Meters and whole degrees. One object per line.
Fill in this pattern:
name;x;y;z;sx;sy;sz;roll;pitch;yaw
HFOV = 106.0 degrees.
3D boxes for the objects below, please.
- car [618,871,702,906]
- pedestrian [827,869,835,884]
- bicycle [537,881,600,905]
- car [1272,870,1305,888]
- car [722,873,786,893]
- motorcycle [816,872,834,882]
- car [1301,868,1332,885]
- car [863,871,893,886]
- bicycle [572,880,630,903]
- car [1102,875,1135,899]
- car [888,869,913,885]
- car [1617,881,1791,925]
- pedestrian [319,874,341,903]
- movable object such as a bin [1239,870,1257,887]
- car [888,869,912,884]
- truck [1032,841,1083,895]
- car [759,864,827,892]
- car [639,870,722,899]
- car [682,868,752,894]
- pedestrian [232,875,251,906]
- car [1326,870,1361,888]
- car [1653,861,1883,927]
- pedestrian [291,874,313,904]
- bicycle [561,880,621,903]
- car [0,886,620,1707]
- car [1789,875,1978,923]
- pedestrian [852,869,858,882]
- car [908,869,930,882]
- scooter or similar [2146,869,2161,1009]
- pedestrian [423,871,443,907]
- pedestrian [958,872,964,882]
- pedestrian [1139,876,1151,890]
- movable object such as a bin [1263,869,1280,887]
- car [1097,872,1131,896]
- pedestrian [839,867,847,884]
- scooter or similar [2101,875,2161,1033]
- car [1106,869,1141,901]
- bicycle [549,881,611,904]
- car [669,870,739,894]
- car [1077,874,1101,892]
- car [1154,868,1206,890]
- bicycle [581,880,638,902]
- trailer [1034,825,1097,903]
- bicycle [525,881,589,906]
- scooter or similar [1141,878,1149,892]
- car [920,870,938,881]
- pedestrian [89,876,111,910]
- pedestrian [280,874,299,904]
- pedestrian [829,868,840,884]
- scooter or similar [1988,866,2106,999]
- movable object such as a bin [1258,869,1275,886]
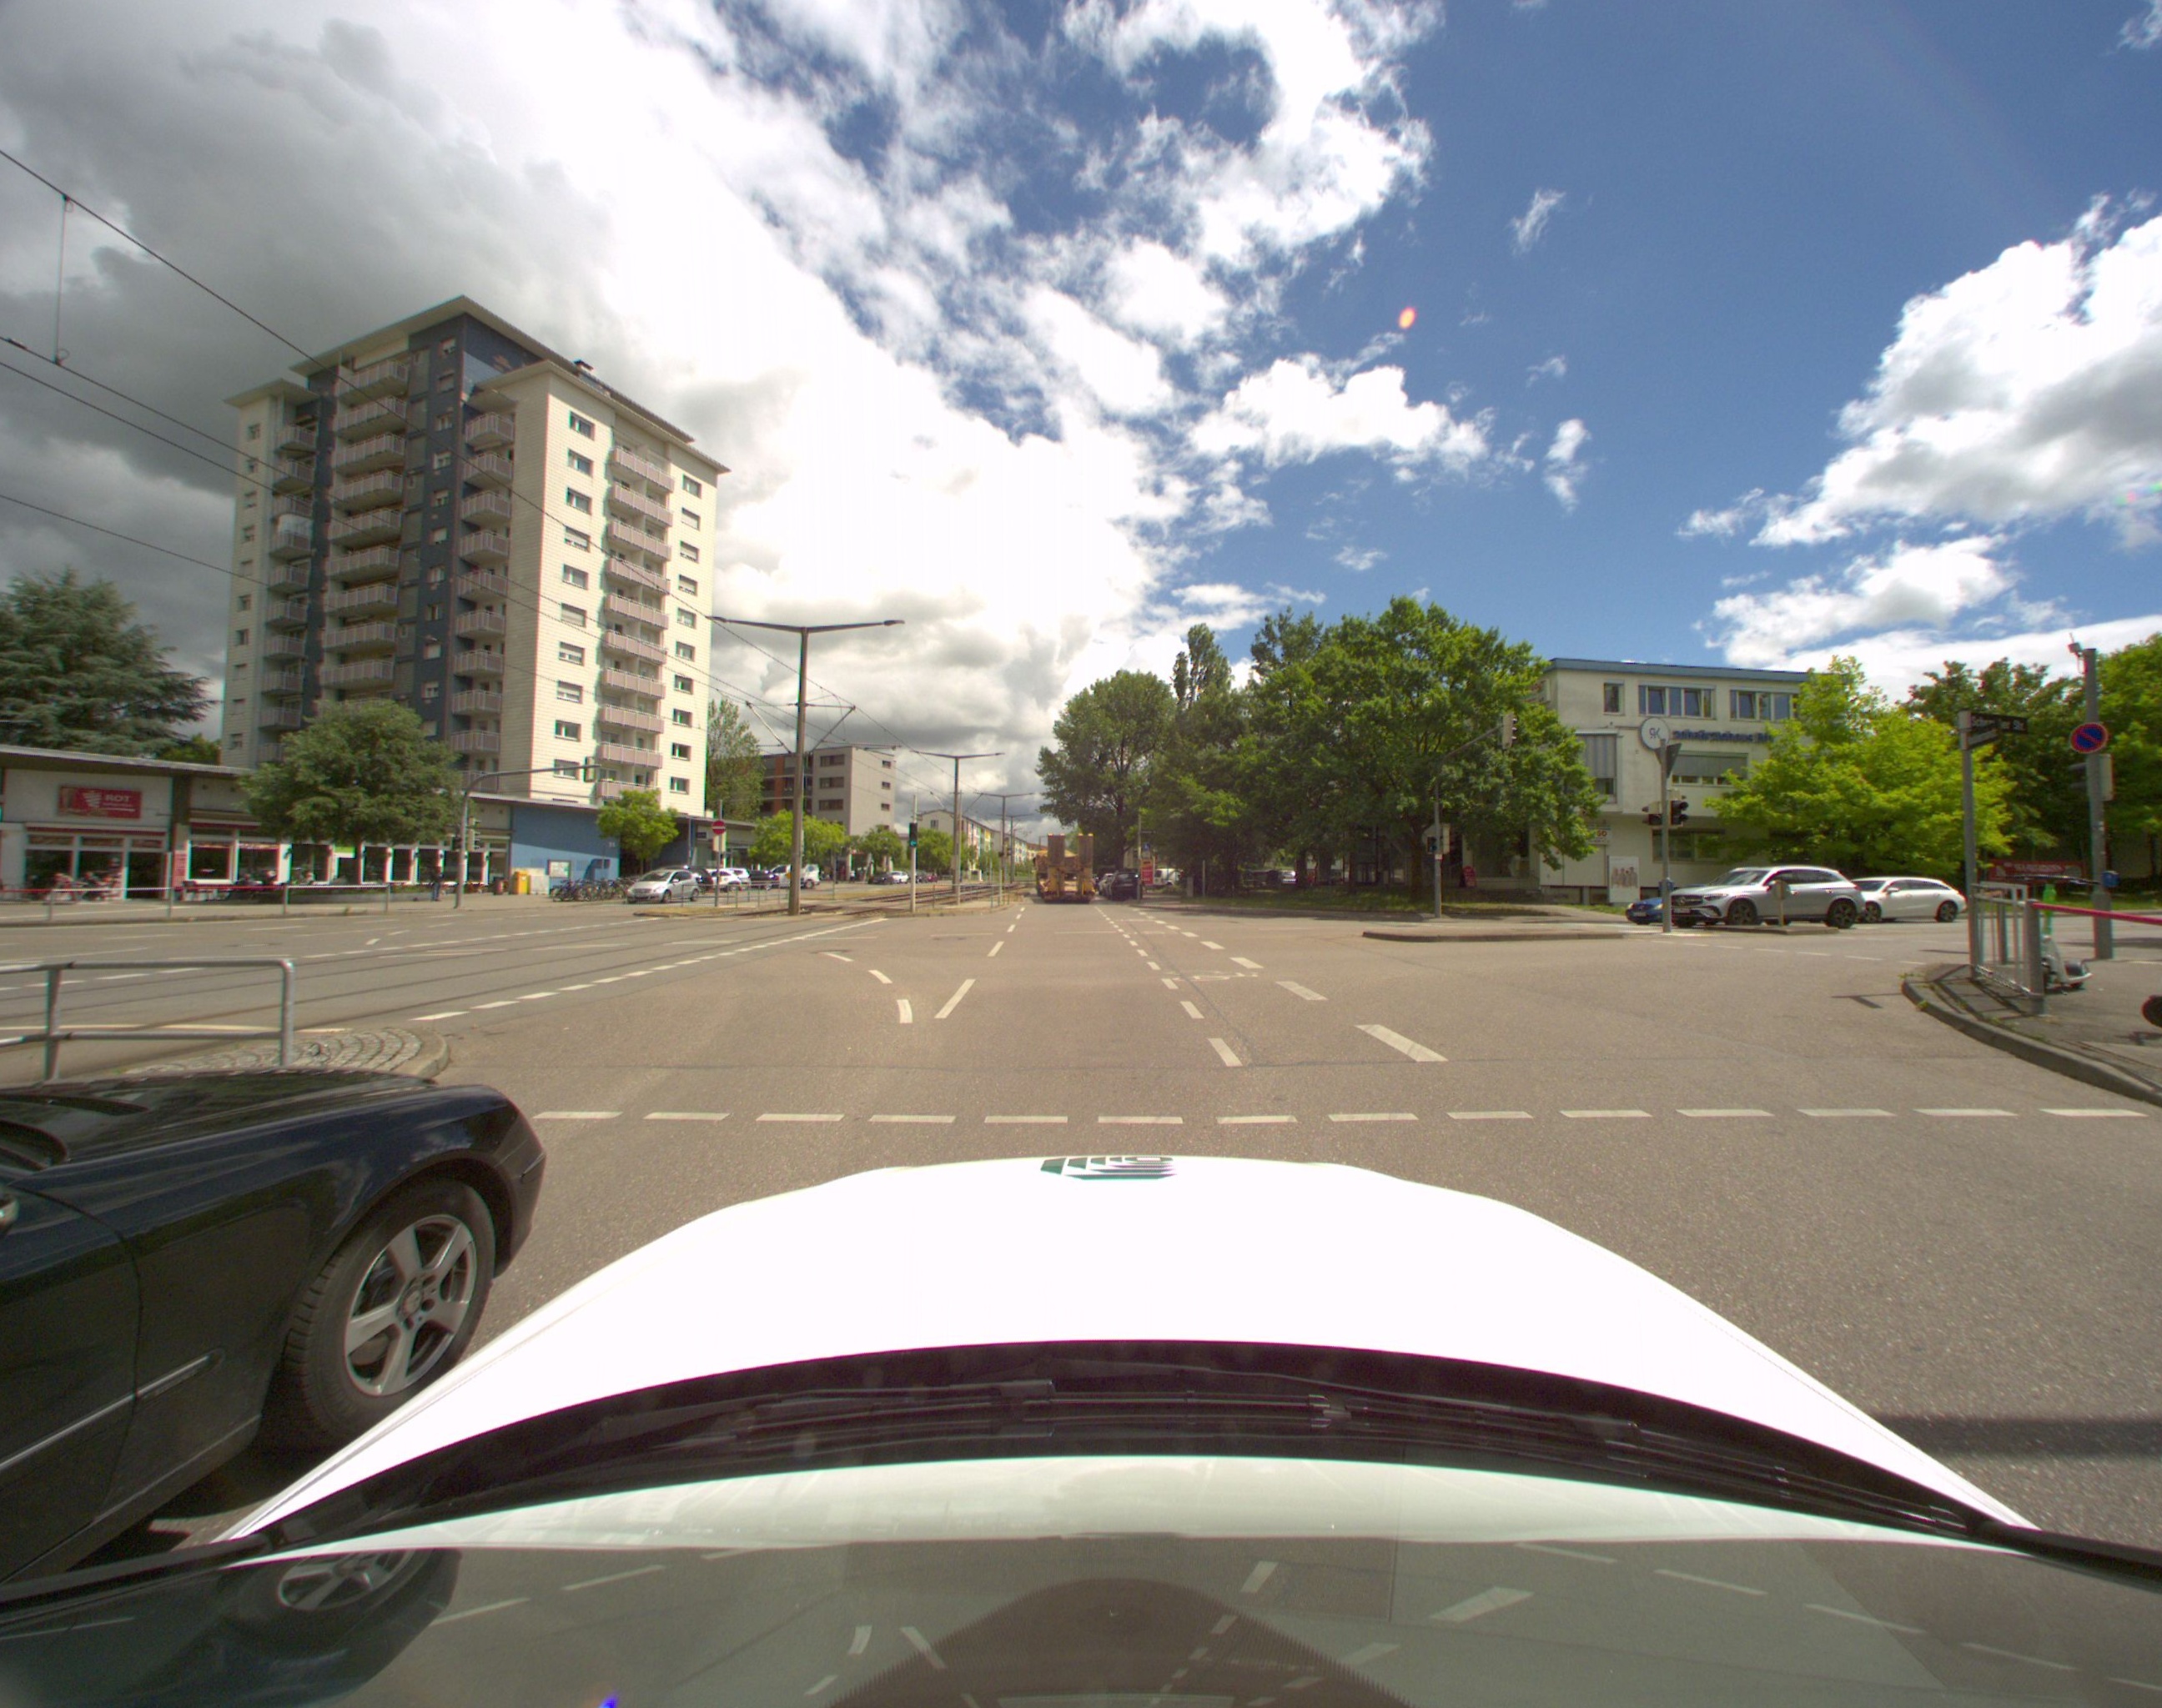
car;-19.765;1.604;38.441;1.810;1.533;3.758;-1;-1;4
pedestrian;-26.581;2.363;86.521;0.667;1.574;0.682;0;-1;-28
bicycle;-23.488;1.785;37.355;2.419;1.066;0.705;-1;-1;0
car;18.299;2.159;71.968;1.933;1.490;4.001;0;-1;1
car;-24.048;2.121;59.957;4.022;1.383;1.883;0;-1;-42
motorcycle;-30.768;2.788;97.950;1.887;1.178;0.741;0;-1;-3
car;20.937;1.961;72.470;1.737;1.443;4.001;0;-1;1
car;-21.806;2.606;87.463;1.746;1.475;4.406;-1;-1;5
bicycle;-23.448;1.823;39.798;2.419;1.066;0.705;-1;-1;0
car;2.395;2.106;52.504;1.641;1.458;4.069;0;-1;-4
car;-20.447;2.604;92.323;1.989;1.663;4.095;1;-1;-2
car;18.754;1.473;24.623;3.954;1.225;1.909;0;-4;-7
pedestrian;-38.128;1.744;41.344;0.522;1.472;0.573;-1;-1;3
movable object such as a bin;14.064;2.043;68.628;1.113;1.430;1.284;0;-1;-3
car;-21.590;2.669;97.213;1.989;1.663;4.095;1;-1;-2
truck;-1.735;0.939;55.147;2.830;3.330;7.966;0;-1;-6
car;-22.758;1.863;64.483;4.787;2.157;1.883;0;-1;-42
car;-23.827;1.787;48.490;1.908;1.591;4.024;-1;-1;43
car;-24.912;1.824;55.808;1.882;1.632;4.024;-1;-1;44
pedestrian;-40.489;1.733;39.262;0.565;1.472;0.529;-1;-1;32
car;23.095;2.195;71.698;1.738;1.470;3.998;0;-1;-1
car;17.965;1.044;21.417;4.636;1.592;1.918;0;-4;-7
pedestrian;-38.496;1.730;40.247;0.522;1.472;0.573;-1;-1;3
bicycle;-23.473;1.812;39.056;2.419;1.066;0.705;-1;-1;0
car;-2.824;0.792;0.737;1.963;1.398;4.678;-1;-1;3
car;25.200;1.413;25.658;4.387;1.415;1.945;0;-4;-9
pedestrian;-26.559;2.549;95.639;0.500;1.460;0.555;0;-1;-28
car;-21.178;2.797;106.675;1.986;1.648;4.102;-1;-1;2
scooter or similar;10.117;0.744;7.128;1.182;1.235;0.478;0;-1;-12
pedestrian;-29.953;1.604;37.642;0.415;1.643;0.600;0;-1;-2
pedestrian;-19.821;3.762;134.574;0.746;1.662;0.870;-1;-1;3
pedestrian;4.827;2.202;61.405;0.775;1.055;0.546;0;-1;-7
movable object such as a bin;16.199;2.040;69.392;1.113;1.430;1.284;0;-1;-3
car;2.253;2.093;57.199;1.781;1.565;4.560;0;-1;-5
pedestrian;-25.958;2.349;88.801;0.609;1.793;0.843;0;-1;-1
scooter or similar;8.816;0.763;6.303;1.162;1.195;0.449;-1;-1;5
car;2.450;1.809;47.963;1.640;1.762;4.564;0;-1;-3
bicycle;-23.456;1.797;38.154;2.419;1.066;0.705;-1;-1;0
car;-24.483;1.782;52.938;3.786;1.496;1.727;0;-1;-40
car;0.657;2.477;70.455;1.812;1.449;3.820;0;-1;-4
car;8.322;2.078;68.562;4.005;1.823;1.796;0;-1;-24
bicycle;-23.465;1.835;40.567;2.419;1.066;0.705;-1;-1;0
trailer;-1.081;0.570;45.783;3.044;3.773;11.596;0;-1;-4
bicycle;-23.518;1.774;36.572;2.419;1.066;0.705;-1;-1;0
scooter or similar;4.837;2.310;61.413;0.476;1.055;0.895;0;-1;-7
car;-21.110;2.987;113.202;1.605;1.426;3.428;-1;-1;6
pedestrian;-42.851;1.688;35.575;0.565;1.472;0.529;-1;-1;32
pedestrian;-39.693;1.750;40.854;0.565;1.472;0.529;-1;-1;29
pedestrian;-25.011;2.248;82.558;0.837;1.650;0.613;1;-1;3
scooter or similar;9.659;0.743;8.137;1.213;1.235;0.475;0;-1;-27
movable object such as a bin;16.116;2.057;70.747;1.113;1.430;1.284;0;-1;-3
